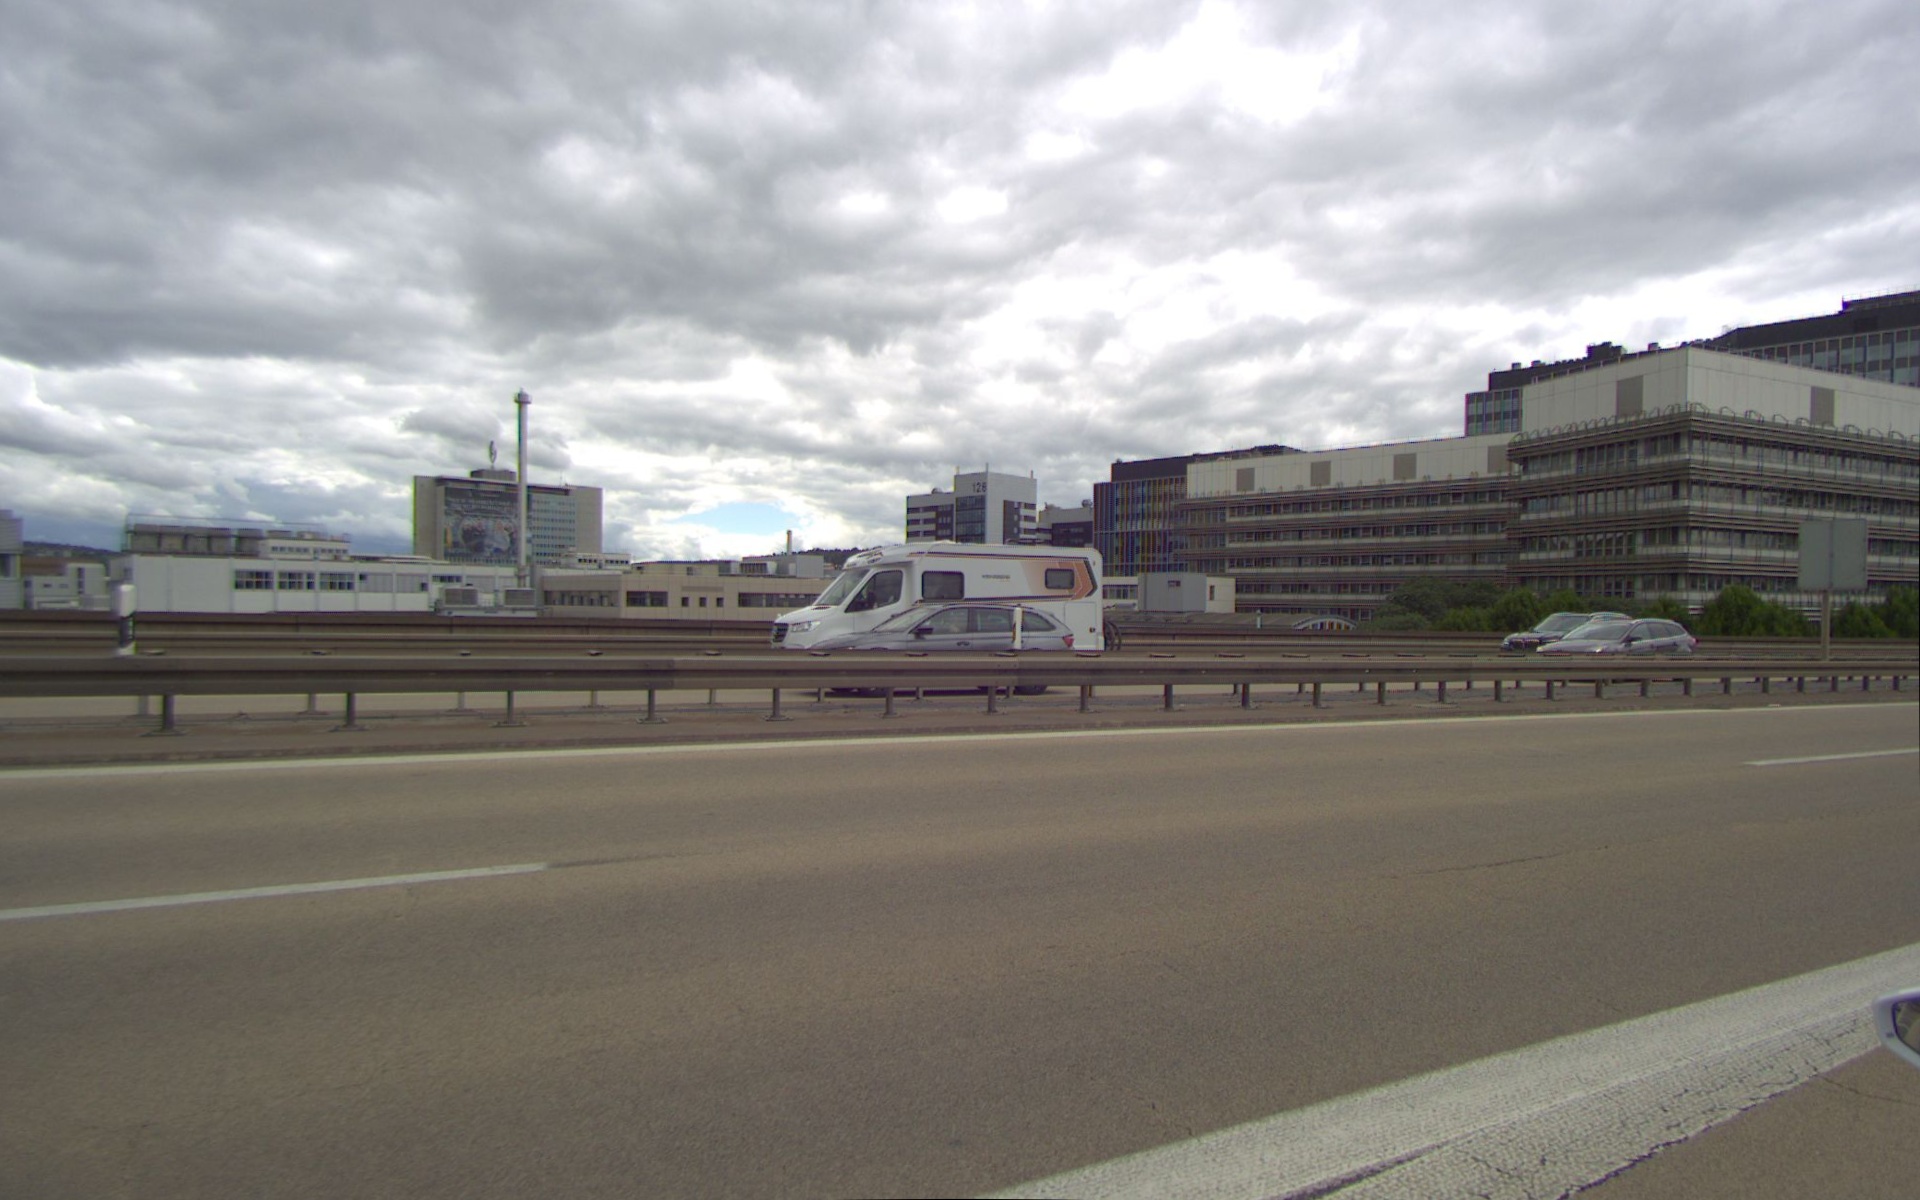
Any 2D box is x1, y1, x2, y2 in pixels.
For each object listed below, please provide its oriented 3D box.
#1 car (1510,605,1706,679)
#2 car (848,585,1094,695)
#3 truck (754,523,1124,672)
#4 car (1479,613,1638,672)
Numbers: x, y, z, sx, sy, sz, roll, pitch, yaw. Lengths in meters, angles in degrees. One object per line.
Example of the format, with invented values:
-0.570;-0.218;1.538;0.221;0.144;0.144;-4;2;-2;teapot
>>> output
15.552;0.996;24.099;4.395;1.657;1.987;1;-2;-26;car
0.183;0.643;16.289;3.670;1.606;1.639;1;-2;-26;car
-0.353;0.050;20.673;7.247;2.661;2.484;1;-2;-25;truck
18.068;1.265;30.313;4.570;1.657;1.987;1;-2;-26;car
